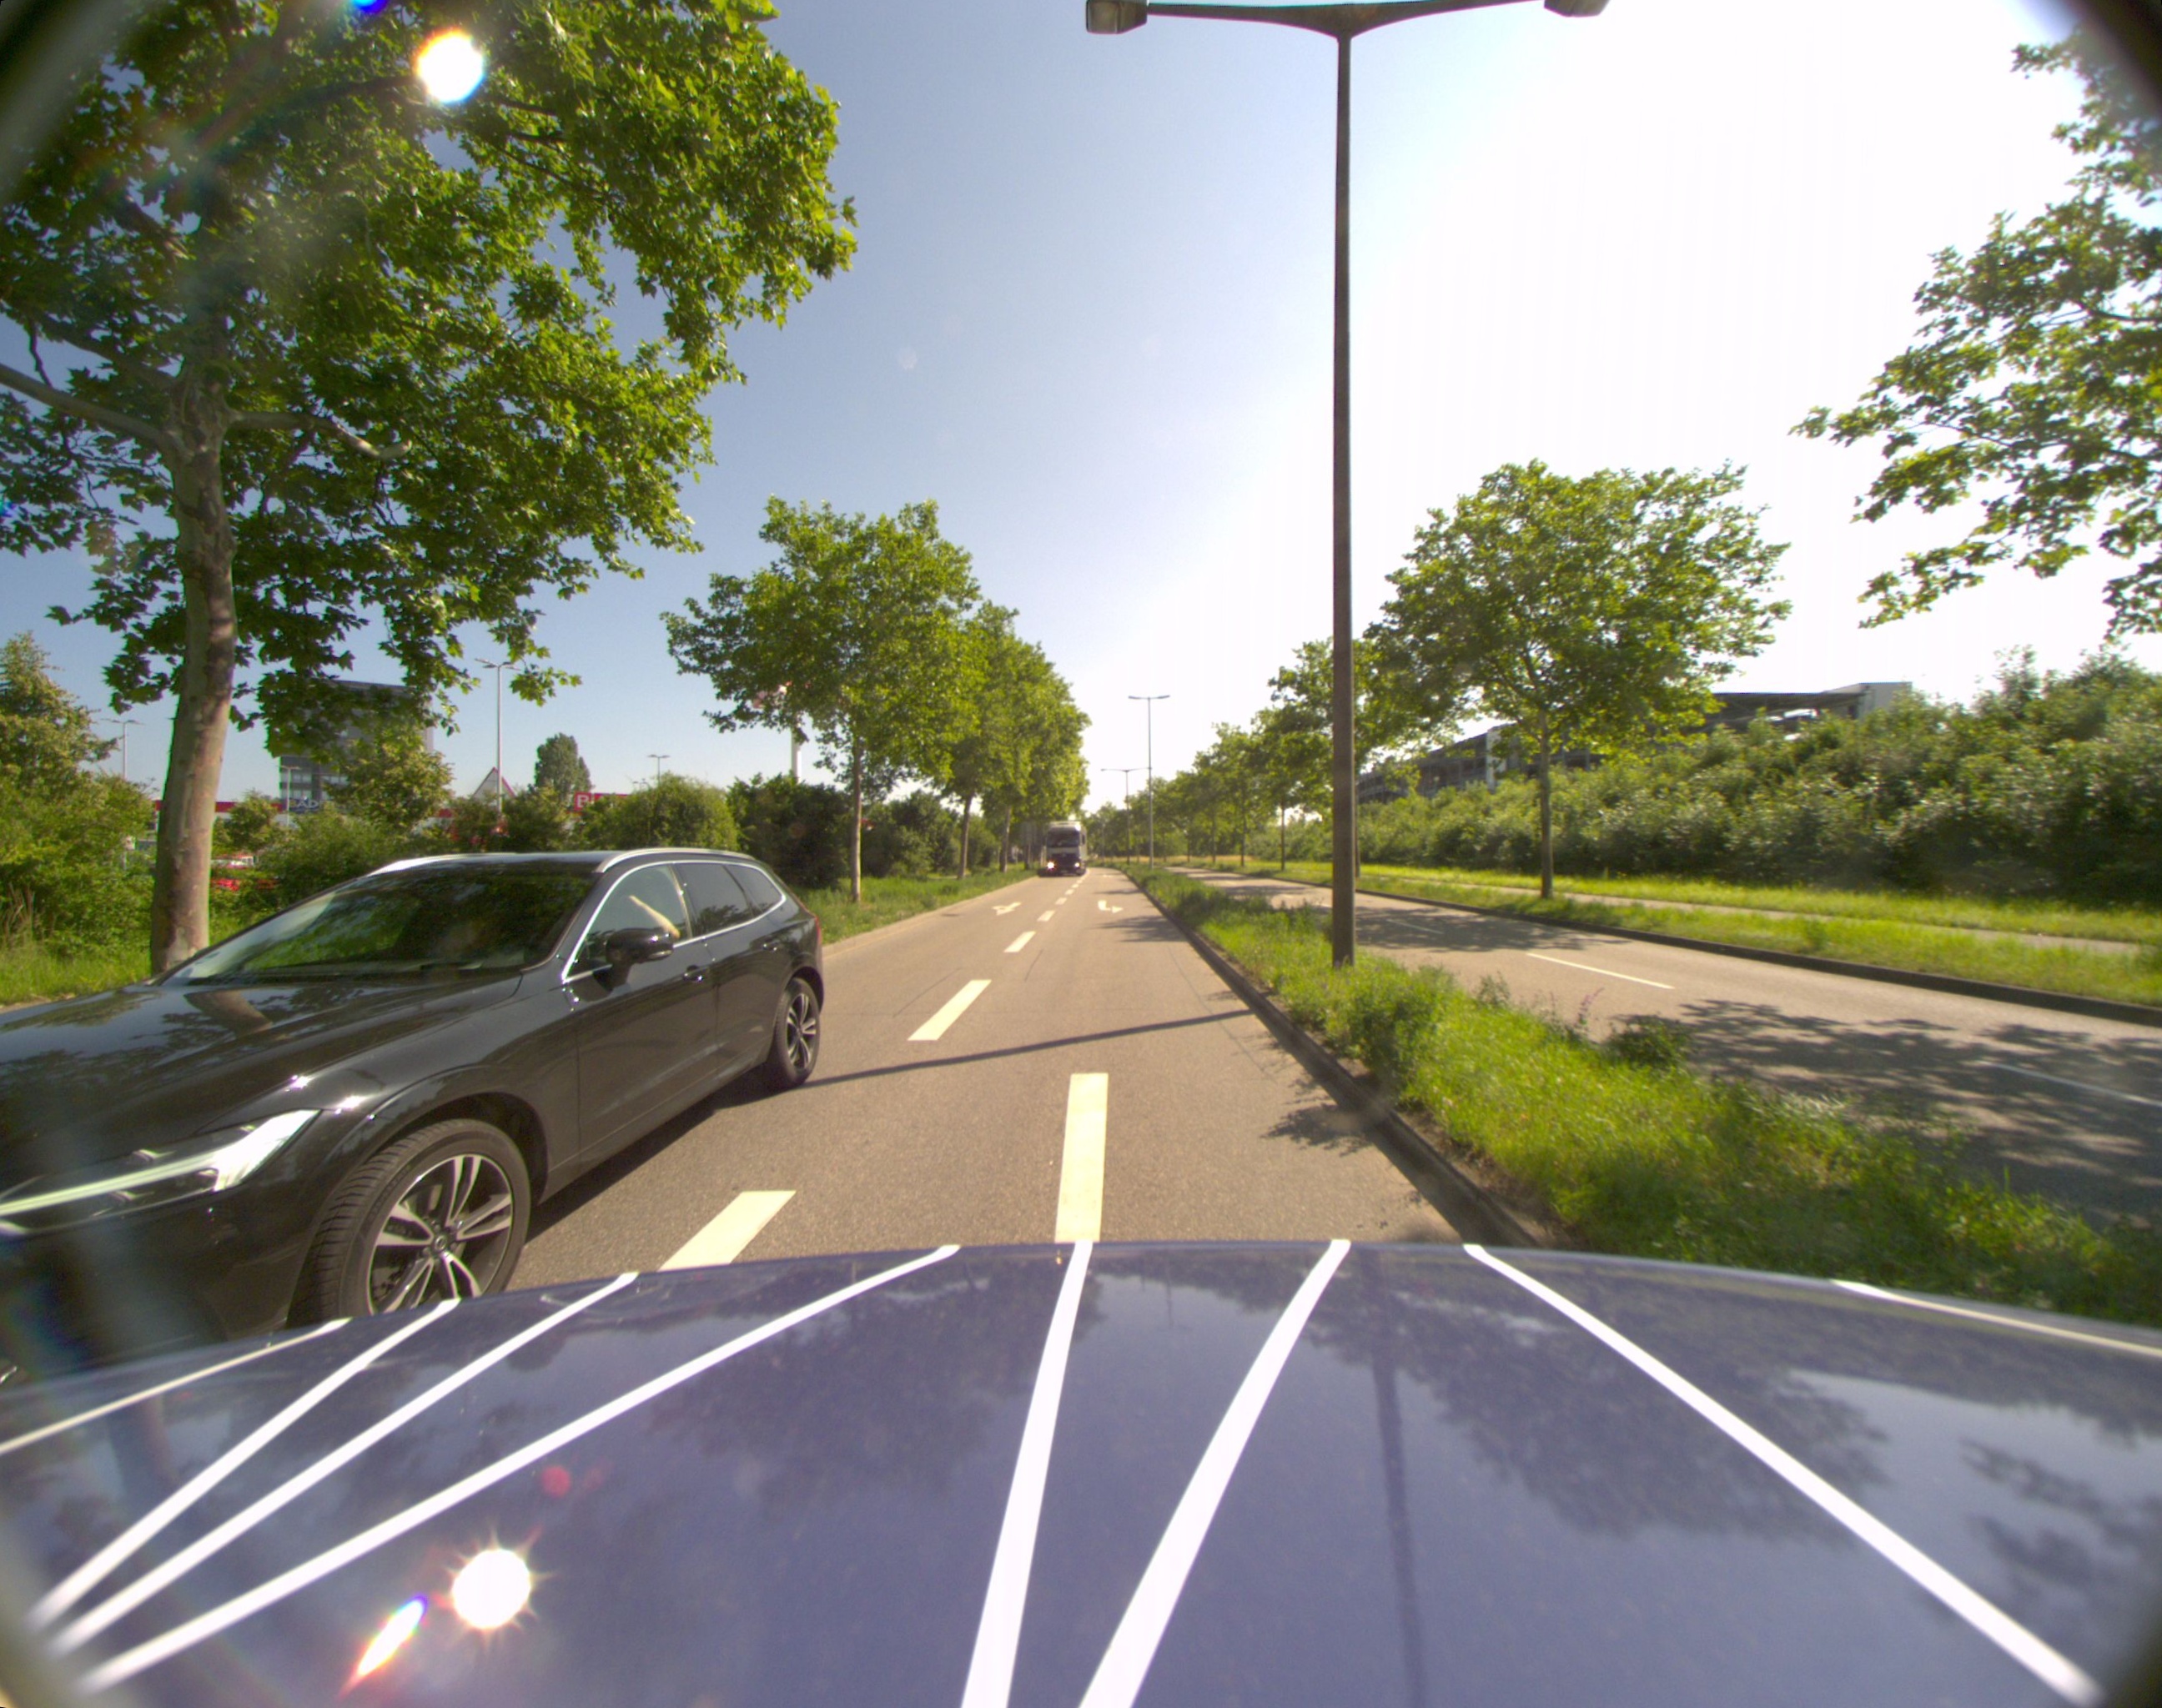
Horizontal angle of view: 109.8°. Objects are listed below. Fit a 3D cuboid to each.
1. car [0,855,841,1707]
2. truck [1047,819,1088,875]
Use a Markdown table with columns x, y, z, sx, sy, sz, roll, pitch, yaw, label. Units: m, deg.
| x | y | z | sx | sy | sz | roll | pitch | yaw | label |
| --- | --- | --- | --- | --- | --- | --- | --- | --- | --- |
| -2.863 | 0.868 | 3.551 | 1.924 | 1.613 | 4.564 | -2 | 1 | 1 | car |
| -0.922 | -0.522 | 55.793 | 2.741 | 3.872 | 5.851 | -2 | 1 | 1 | truck |
